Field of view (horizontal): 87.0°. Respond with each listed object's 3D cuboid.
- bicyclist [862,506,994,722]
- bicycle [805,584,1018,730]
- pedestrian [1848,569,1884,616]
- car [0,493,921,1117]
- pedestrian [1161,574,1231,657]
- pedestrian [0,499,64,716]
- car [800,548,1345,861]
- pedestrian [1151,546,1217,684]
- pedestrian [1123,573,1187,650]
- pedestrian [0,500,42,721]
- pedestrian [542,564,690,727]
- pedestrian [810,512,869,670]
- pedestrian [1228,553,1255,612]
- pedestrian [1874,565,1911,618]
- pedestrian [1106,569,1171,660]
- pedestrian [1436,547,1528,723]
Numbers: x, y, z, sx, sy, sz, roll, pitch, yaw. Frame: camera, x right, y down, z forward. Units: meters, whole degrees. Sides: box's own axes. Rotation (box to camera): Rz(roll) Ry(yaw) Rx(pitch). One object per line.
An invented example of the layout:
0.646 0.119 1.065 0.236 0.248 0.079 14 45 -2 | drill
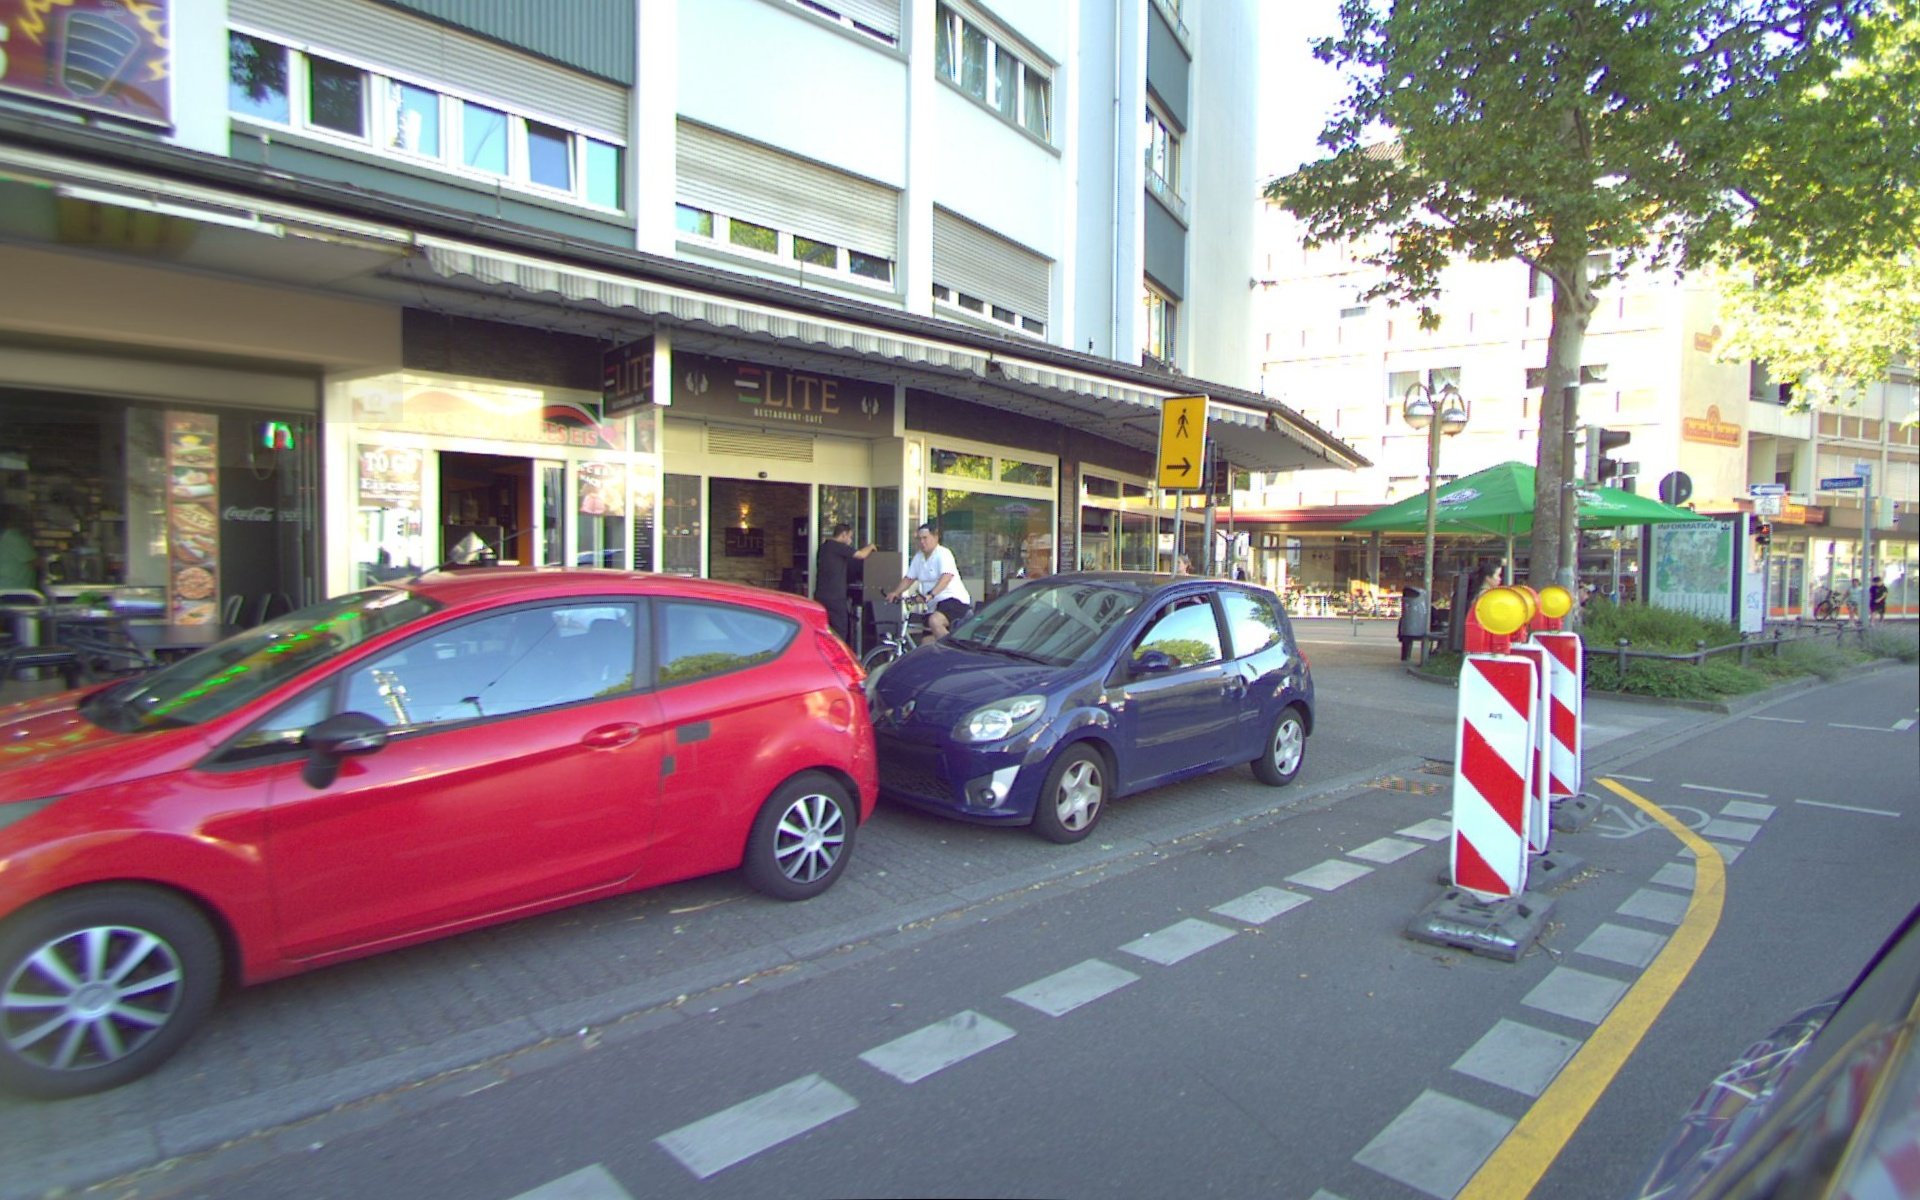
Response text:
-0.292 0.090 9.257 0.911 1.848 0.752 -2 4 -45 | bicyclist
-0.402 0.465 9.179 1.855 1.143 0.750 1 4 -44 | bicycle
28.358 -0.229 31.689 0.520 1.455 0.630 0 2 -20 | pedestrian
-2.174 0.451 4.148 3.761 1.614 1.784 -1 6 -44 | car
3.603 0.217 15.501 0.685 1.207 0.881 0 2 -17 | pedestrian
-7.119 0.045 7.547 0.588 1.560 0.702 0 2 -38 | pedestrian
0.911 0.464 6.906 3.551 1.485 1.769 -1 5 -43 | car
2.775 0.163 12.511 0.624 1.657 0.525 2 2 35 | pedestrian
3.166 0.167 16.421 0.776 1.207 0.648 0 2 -34 | pedestrian
-7.116 0.064 7.357 0.588 1.566 0.702 0 2 -38 | pedestrian
-3.123 0.359 9.157 0.937 1.352 1.069 -1 2 -41 | pedestrian
-1.403 -0.119 11.786 0.547 1.800 0.395 -2 4 -43 | pedestrian
9.591 -0.618 34.485 0.636 1.983 0.890 1 2 0 | pedestrian
28.596 -0.265 31.029 0.520 1.605 0.630 0 2 -20 | pedestrian
2.673 0.203 15.224 0.685 1.323 0.793 0 2 -13 | pedestrian
5.204 0.321 10.081 0.783 1.667 0.583 -1 1 -42 | pedestrian
